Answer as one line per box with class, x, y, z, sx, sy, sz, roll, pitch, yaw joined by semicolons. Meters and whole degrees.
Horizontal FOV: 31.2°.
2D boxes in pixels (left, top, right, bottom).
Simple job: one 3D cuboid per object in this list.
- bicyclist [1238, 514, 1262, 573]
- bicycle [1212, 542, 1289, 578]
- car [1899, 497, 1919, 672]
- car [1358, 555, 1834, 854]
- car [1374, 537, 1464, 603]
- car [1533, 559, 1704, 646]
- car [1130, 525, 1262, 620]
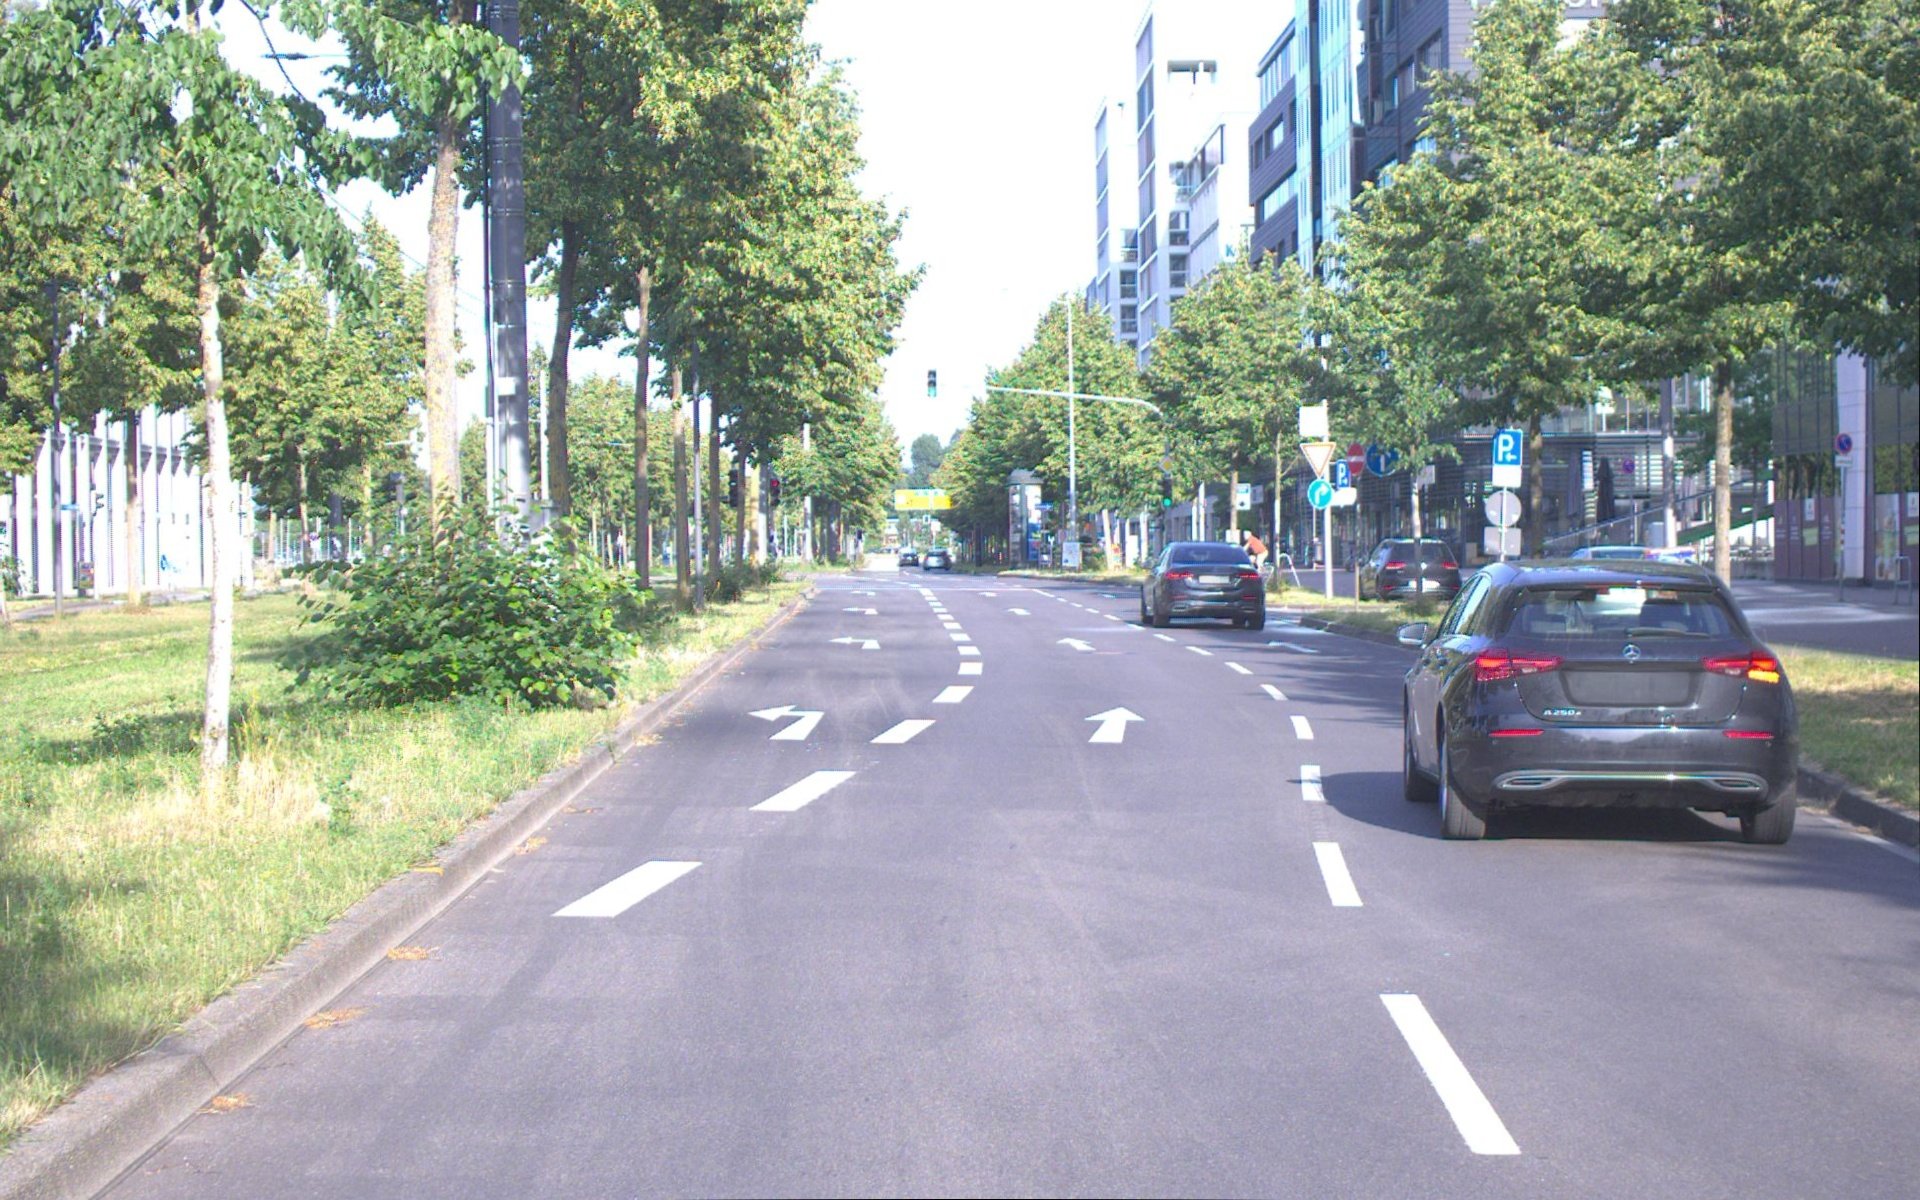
bicyclist;8.442;-1.645;100.124;0.574;1.701;0.541;1;0;-5
bicycle;8.463;-1.177;100.126;2.134;1.009;0.571;1;0;-5
car;10.397;-0.084;31.822;1.897;1.702;4.679;1;2;-3
car;3.311;0.485;18.632;1.774;1.419;3.961;1;1;-1
car;9.825;-0.644;73.766;1.607;1.366;4.157;1;1;4
car;9.984;0.016;52.391;1.708;1.238;3.906;1;1;-2
car;3.927;-0.467;57.666;1.859;1.519;3.786;1;1;-1
